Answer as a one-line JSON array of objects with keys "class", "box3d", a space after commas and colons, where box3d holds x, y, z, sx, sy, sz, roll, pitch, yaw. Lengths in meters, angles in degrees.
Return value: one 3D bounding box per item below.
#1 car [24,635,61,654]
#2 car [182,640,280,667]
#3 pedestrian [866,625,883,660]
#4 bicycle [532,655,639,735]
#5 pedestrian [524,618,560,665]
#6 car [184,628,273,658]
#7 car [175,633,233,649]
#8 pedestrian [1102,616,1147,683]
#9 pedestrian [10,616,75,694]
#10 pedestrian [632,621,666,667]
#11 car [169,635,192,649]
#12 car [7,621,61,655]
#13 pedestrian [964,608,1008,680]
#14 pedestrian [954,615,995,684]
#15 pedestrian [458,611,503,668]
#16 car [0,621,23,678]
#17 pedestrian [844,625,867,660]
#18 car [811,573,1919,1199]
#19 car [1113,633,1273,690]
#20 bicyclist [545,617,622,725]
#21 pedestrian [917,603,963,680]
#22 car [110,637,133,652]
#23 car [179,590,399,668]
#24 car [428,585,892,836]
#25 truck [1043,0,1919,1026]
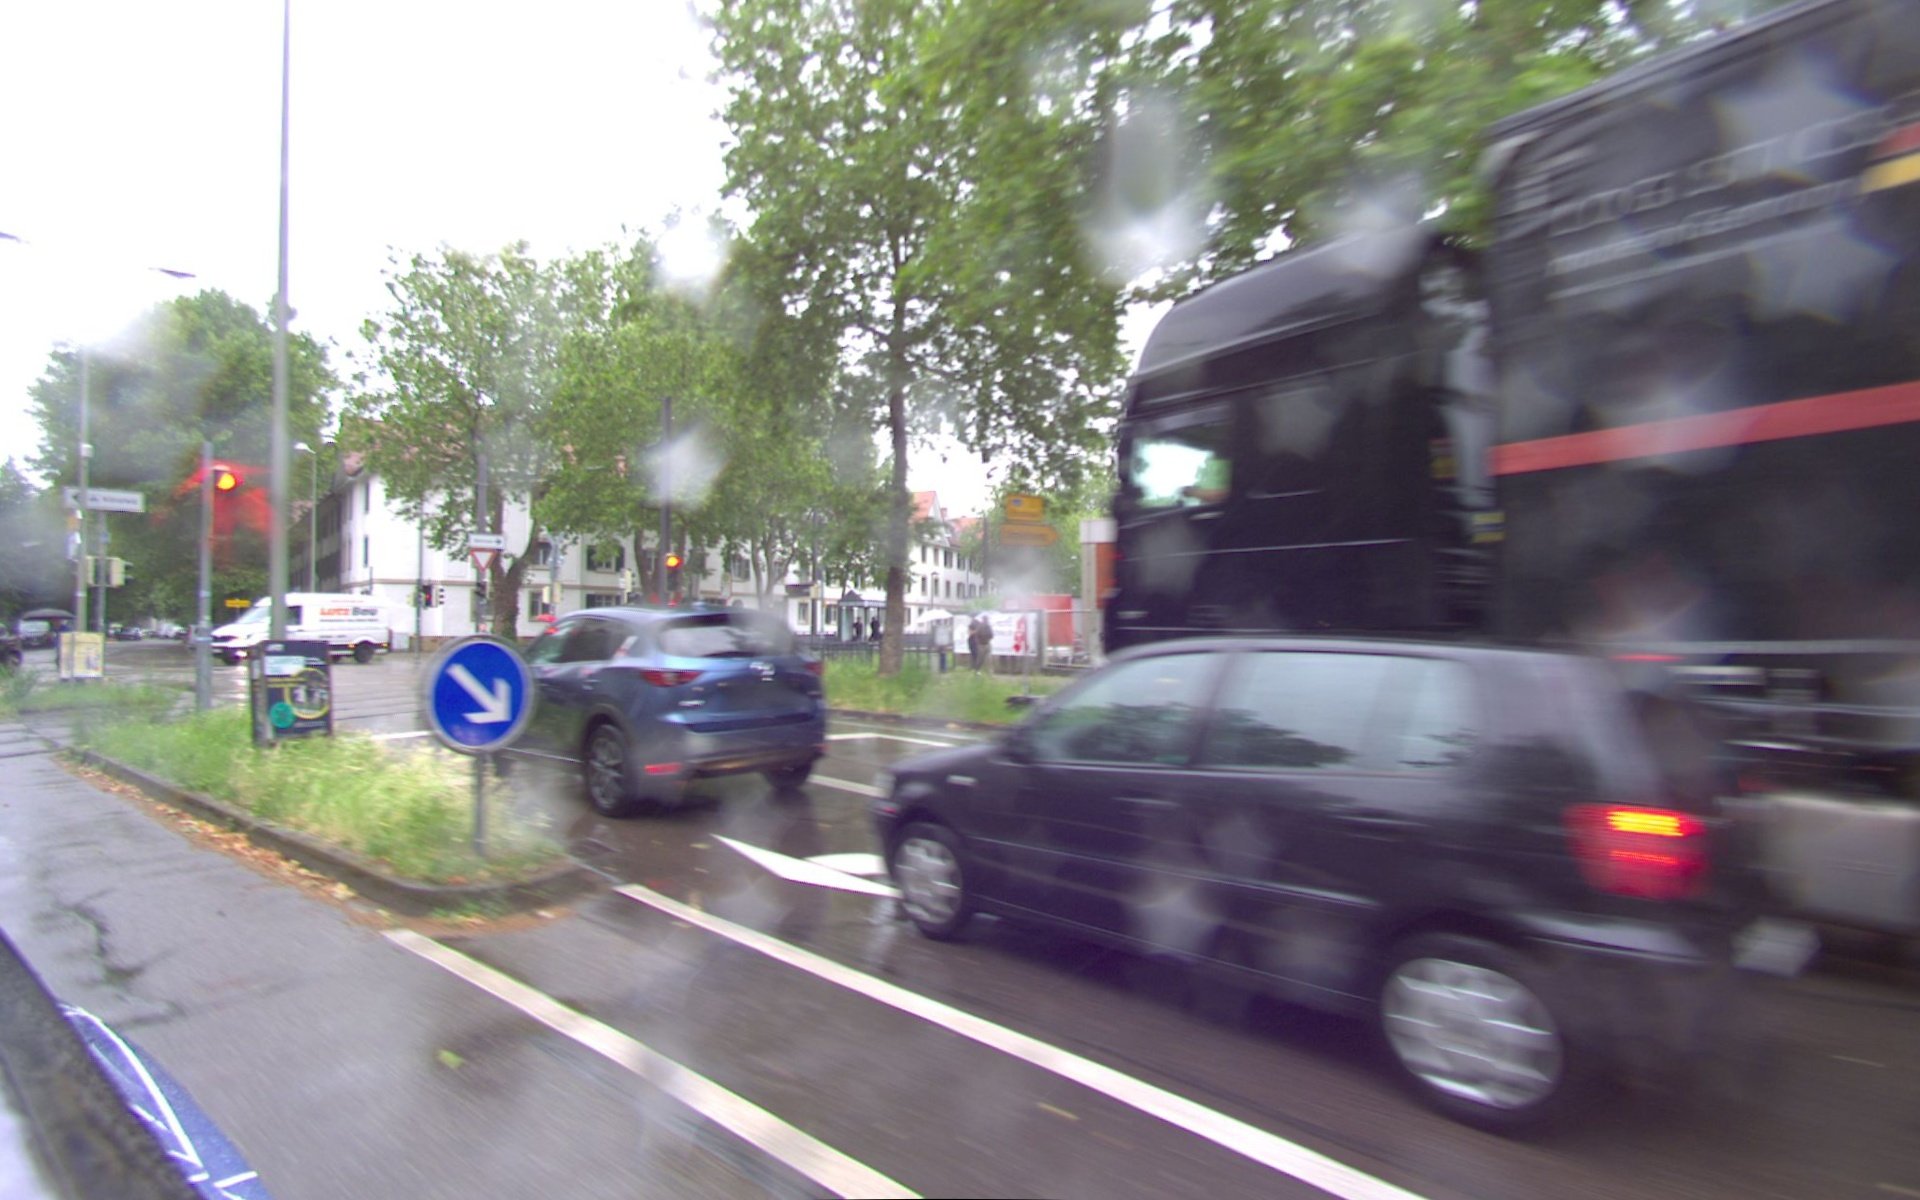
[{"class": "car", "box3d": [-75.895, 3.665, 83.762, 1.968, 1.551, 4.008, 1, -2, -38]}, {"class": "car", "box3d": [-44.284, 3.253, 61.556, 4.665, 1.635, 1.933, 3, -4, -40]}, {"class": "pedestrian", "box3d": [-4.550, 2.245, 53.692, 0.847, 1.840, 0.850, 1, -3, -5]}, {"class": "bicycle", "box3d": [-5.337, 1.316, 14.354, 1.872, 1.032, 0.526, -2, -3, 39]}, {"class": "pedestrian", "box3d": [-15.078, 1.501, 36.524, 0.844, 1.701, 0.853, -1, -3, 24]}, {"class": "car", "box3d": [-48.120, 2.847, 66.612, 4.596, 1.888, 2.038, 3, -4, -37]}, {"class": "car", "box3d": [-76.617, 4.151, 102.559, 4.596, 1.617, 2.038, 3, -4, -37]}, {"class": "pedestrian", "box3d": [3.811, 1.151, 23.434, 0.844, 1.516, 0.822, -1, -3, 25]}, {"class": "pedestrian", "box3d": [-19.373, 1.155, 21.381, 0.641, 1.593, 0.853, -2, -4, 35]}, {"class": "pedestrian", "box3d": [-11.612, 1.656, 37.816, 0.855, 1.701, 0.842, -1, -3, 23]}, {"class": "car", "box3d": [-98.734, 5.305, 128.213, 1.969, 1.820, 4.005, 1, -3, -42]}, {"class": "car", "box3d": [-69.769, 2.903, 76.367, 2.363, 2.494, 5.704, 2, -4, -37]}, {"class": "pedestrian", "box3d": [0.697, 1.164, 26.845, 0.844, 1.877, 0.948, -1, -3, 24]}, {"class": "pedestrian", "box3d": [0.412, 1.387, 28.307, 0.844, 1.877, 0.948, -1, -3, 24]}, {"class": "pedestrian", "box3d": [-14.478, 1.202, 30.558, 0.855, 1.701, 0.842, -1, -3, 23]}, {"class": "car", "box3d": [-25.103, 1.203, 24.548, 1.823, 1.455, 4.011, 1, -3, -16]}, {"class": "pedestrian", "box3d": [-5.430, 2.199, 52.823, 0.847, 1.800, 0.850, 3, -4, -41]}, {"class": "car", "box3d": [1.217, 0.725, 4.210, 1.677, 1.384, 4.105, 2, -3, -41]}, {"class": "car", "box3d": [5.972, 1.535, 26.006, 3.601, 1.331, 1.850, 0, -2, -25]}, {"class": "bicyclist", "box3d": [-5.360, 0.991, 14.401, 1.010, 1.472, 0.573, -2, -3, 39]}, {"class": "pedestrian", "box3d": [-0.547, 1.105, 26.752, 0.896, 1.979, 1.218, 1, -2, -18]}, {"class": "car", "box3d": [-102.837, 5.483, 124.126, 1.969, 1.820, 4.356, 1, -3, -41]}, {"class": "car", "box3d": [-24.154, 1.057, 36.850, 2.270, 2.582, 6.458, -1, -2, 24]}, {"class": "car", "box3d": [-3.028, 0.864, 9.389, 2.050, 1.695, 4.933, -1, -2, -44]}, {"class": "truck", "box3d": [4.101, -0.473, 5.564, 3.406, 4.110, 6.987, 1, -3, -38]}]
